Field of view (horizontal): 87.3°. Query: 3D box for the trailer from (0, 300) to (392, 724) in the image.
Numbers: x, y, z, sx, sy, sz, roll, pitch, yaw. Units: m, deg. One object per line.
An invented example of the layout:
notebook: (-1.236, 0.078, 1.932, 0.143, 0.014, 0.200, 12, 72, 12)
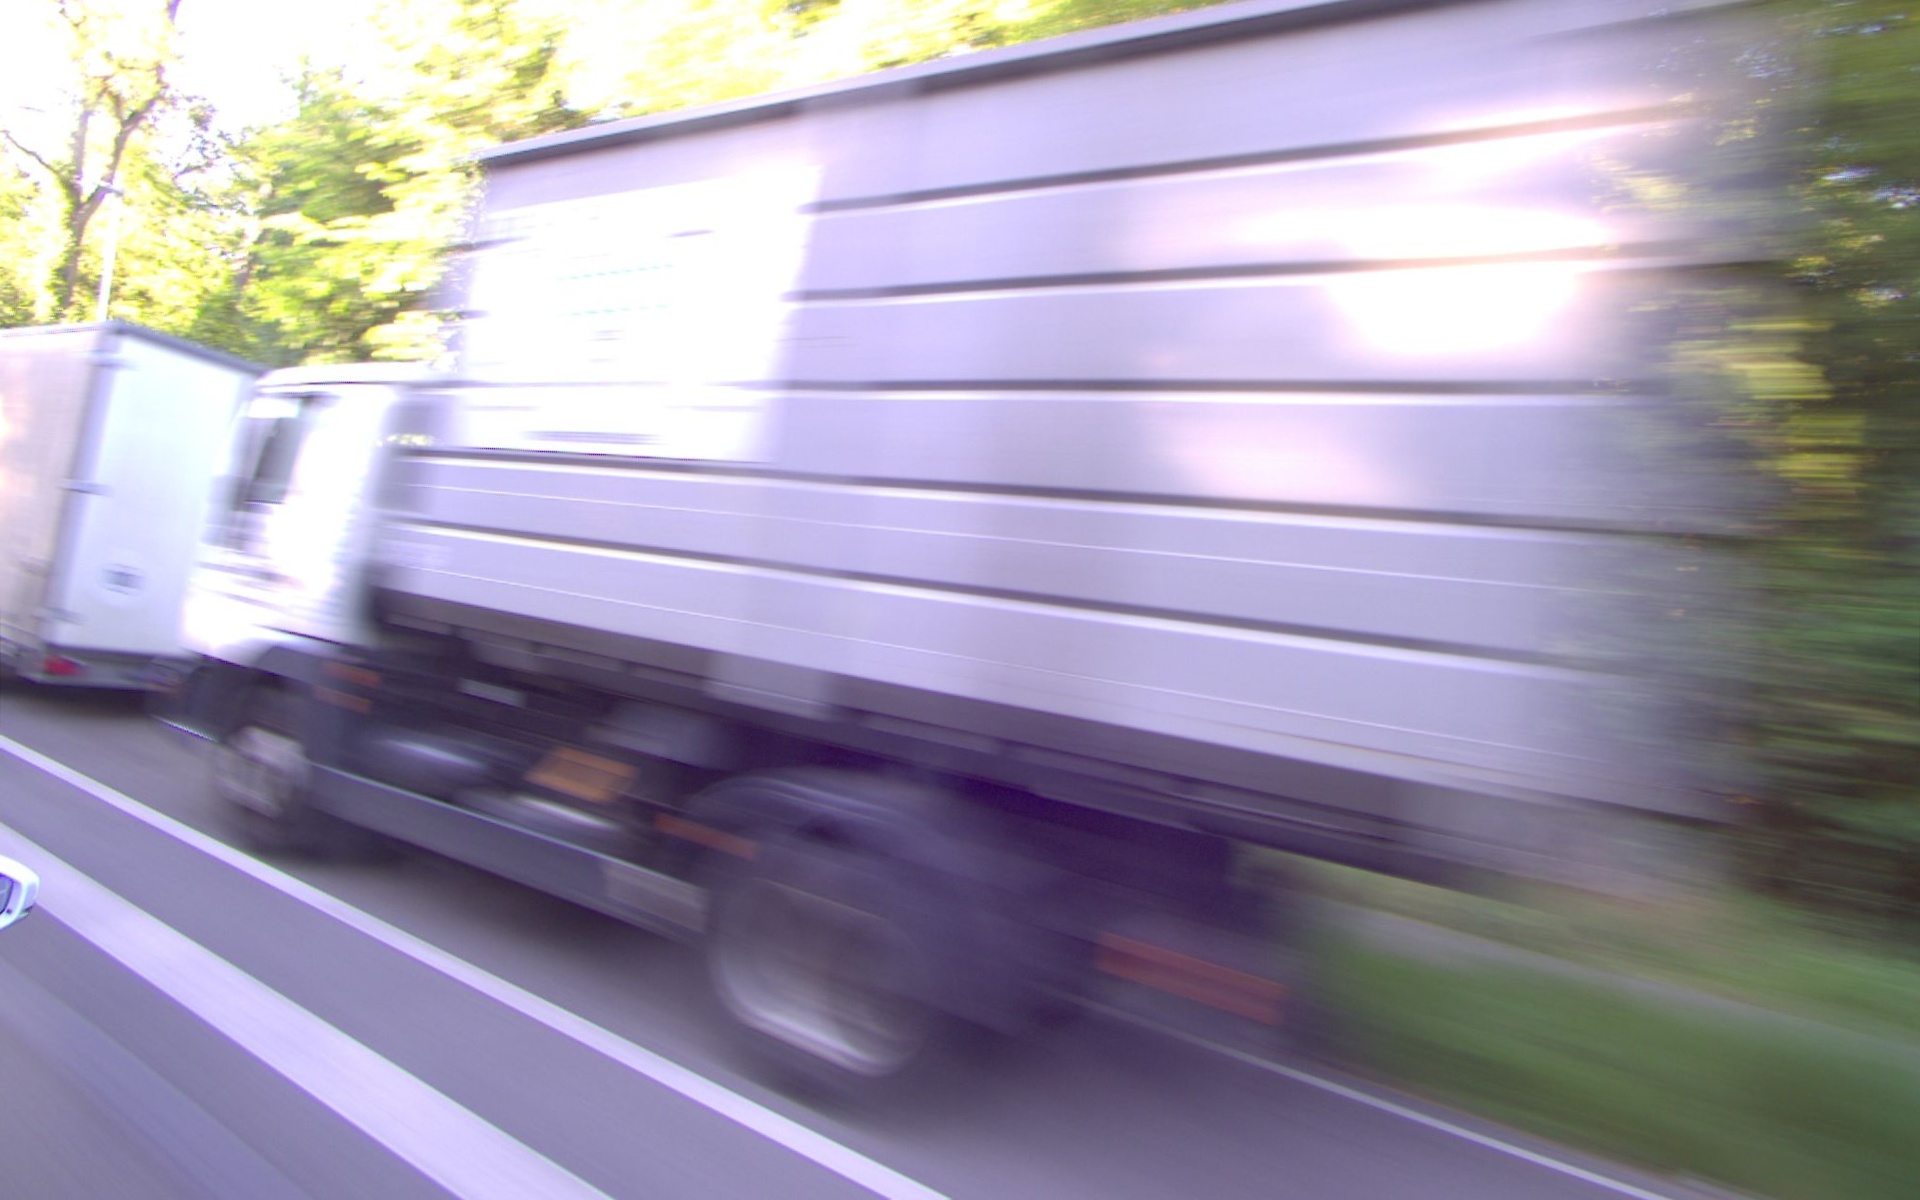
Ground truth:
trailer: (-7.839, -0.730, 9.104, 5.121, 2.877, 2.277, 7, -1, 32)

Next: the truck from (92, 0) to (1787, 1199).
truck: (-0.949, -0.212, 4.728, 6.990, 3.406, 2.509, 7, -1, 32)
